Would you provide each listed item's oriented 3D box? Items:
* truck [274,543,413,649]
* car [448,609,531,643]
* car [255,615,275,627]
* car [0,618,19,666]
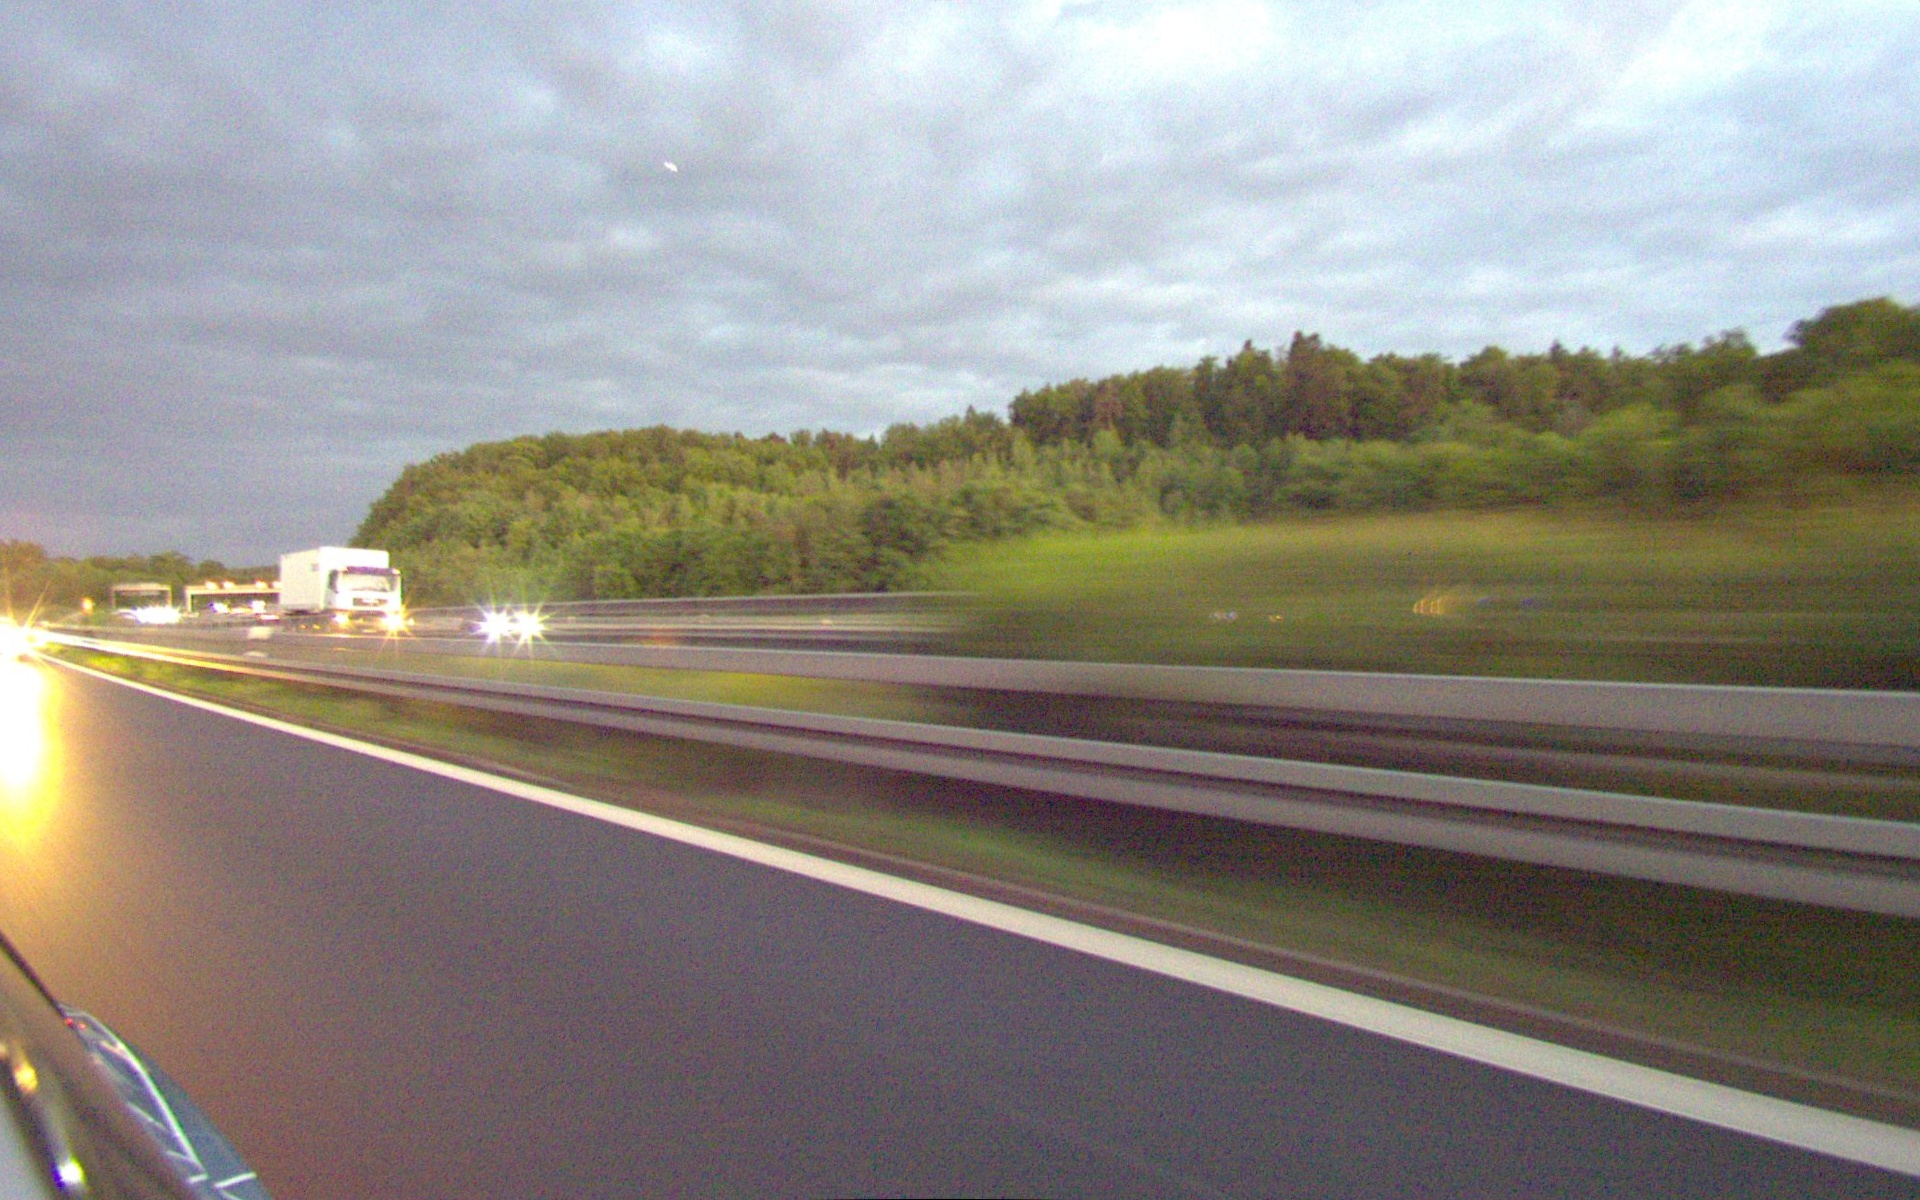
[{"bbox_3d":[-28.036,-0.127,45.757,9.894,4.334,3.004,-1,0,44],"label":"truck"},{"bbox_3d":[-20.034,1.089,43.068,3.998,1.354,1.736,-1,-1,41],"label":"car"},{"bbox_3d":[-102.162,3.040,148.844,1.870,1.631,4.004,0,0,-43],"label":"car"},{"bbox_3d":[-33.566,1.436,34.588,3.754,1.572,1.648,-1,0,41],"label":"car"}]
